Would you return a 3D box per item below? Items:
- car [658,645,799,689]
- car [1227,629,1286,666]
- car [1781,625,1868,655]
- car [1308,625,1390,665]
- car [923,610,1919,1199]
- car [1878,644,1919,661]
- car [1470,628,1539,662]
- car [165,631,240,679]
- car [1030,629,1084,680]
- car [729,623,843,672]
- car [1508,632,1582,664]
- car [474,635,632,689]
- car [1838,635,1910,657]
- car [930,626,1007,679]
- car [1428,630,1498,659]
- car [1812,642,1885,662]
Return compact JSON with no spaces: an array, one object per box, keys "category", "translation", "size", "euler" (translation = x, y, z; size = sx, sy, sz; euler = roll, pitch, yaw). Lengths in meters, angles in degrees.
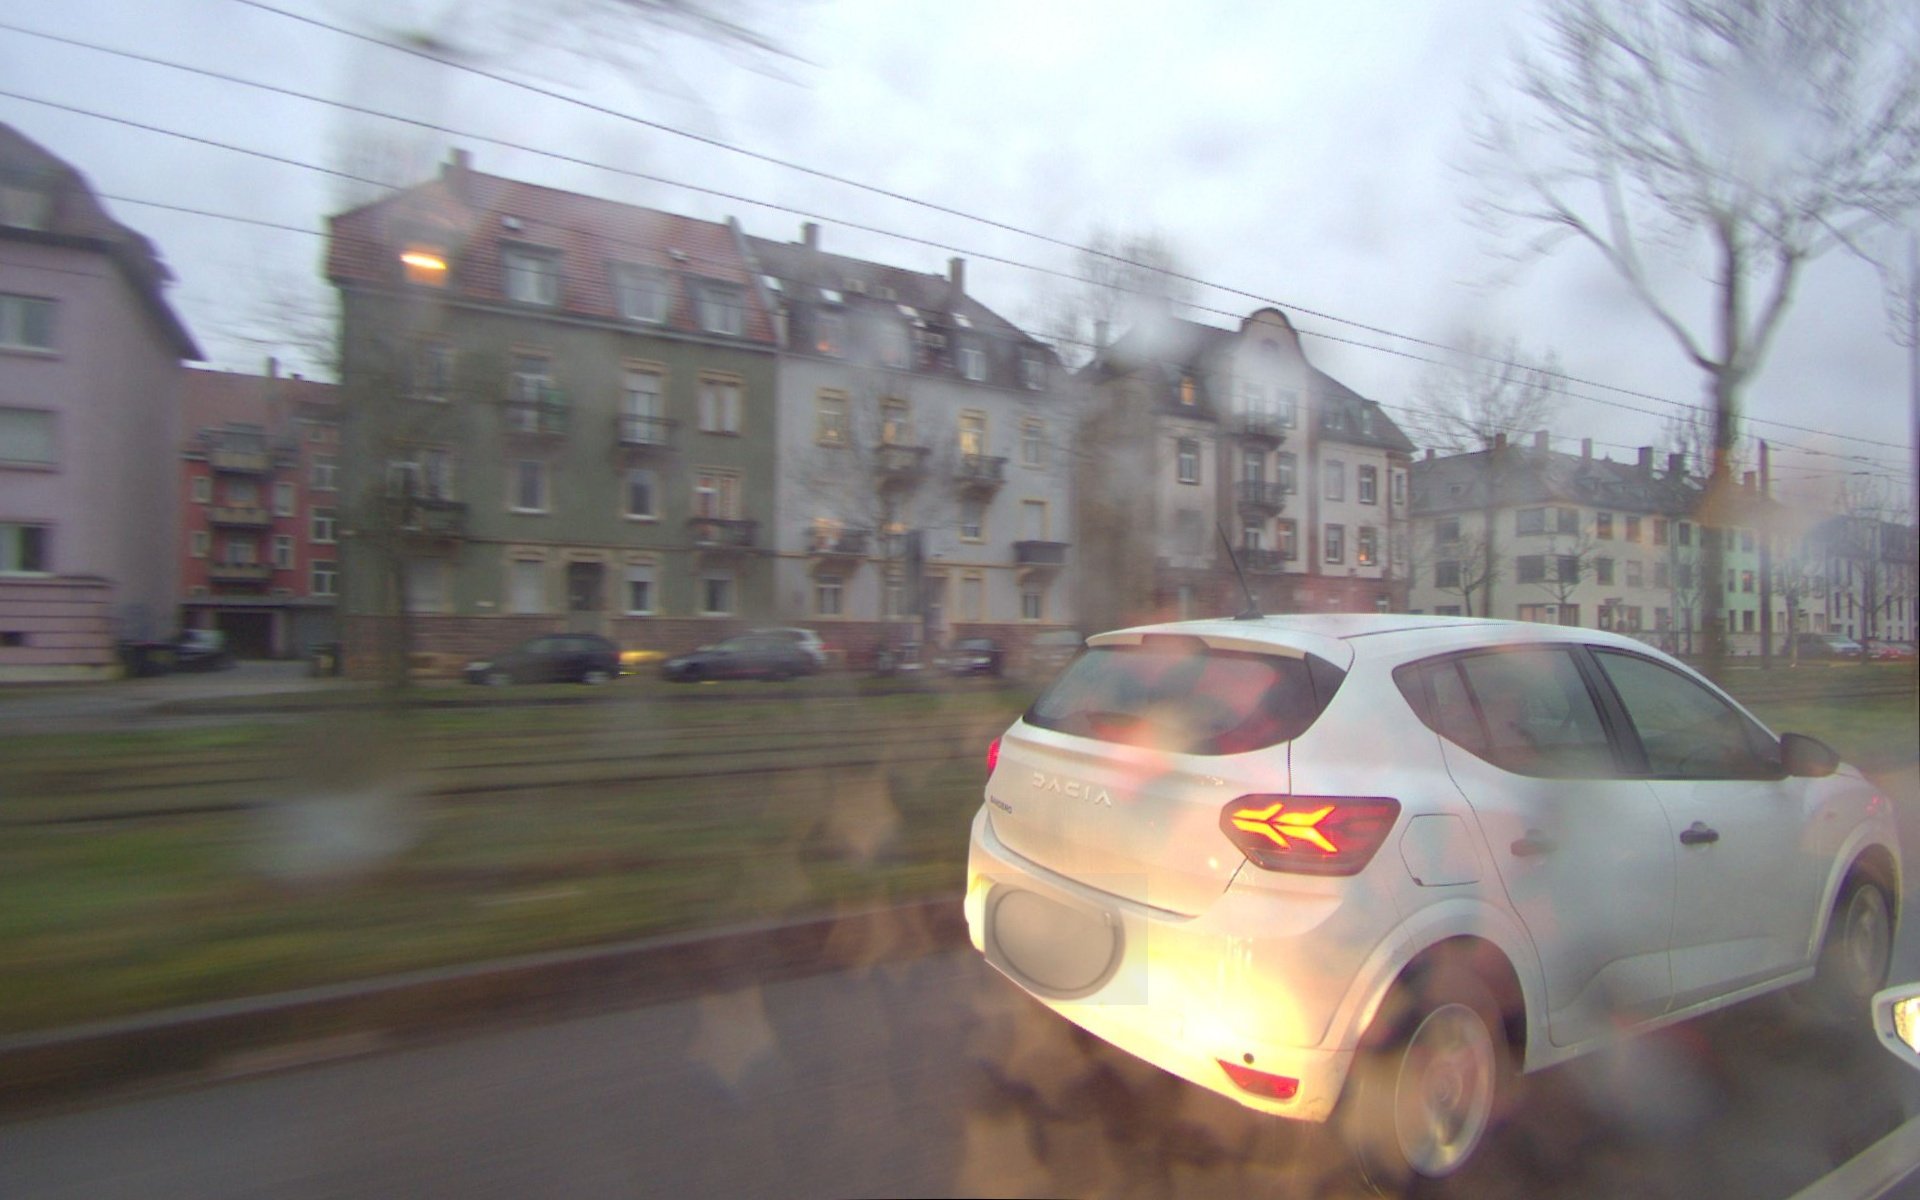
[{"category":"car","translation":[-6.775,1.935,29.598],"size":[3.860,1.184,1.222],"euler":[2,-1,-34]},{"category":"car","translation":[11.593,1.814,39.538],"size":[1.796,1.274,4.269],"euler":[1,-1,11]},{"category":"car","translation":[55.572,2.529,64.712],"size":[1.796,1.746,4.661],"euler":[1,0,4]},{"category":"car","translation":[15.931,1.834,41.319],"size":[1.842,1.437,3.361],"euler":[3,-1,-4]},{"category":"car","translation":[1.999,0.831,3.820],"size":[3.954,1.494,1.680],"euler":[2,-1,-31]},{"category":"car","translation":[66.322,3.680,70.600],"size":[1.408,1.062,2.393],"euler":[0,0,3]},{"category":"car","translation":[25.265,2.071,46.731],"size":[1.321,1.247,4.046],"euler":[3,1,6]},{"category":"car","translation":[-27.132,1.934,36.054],"size":[1.591,1.564,3.340],"euler":[1,-1,-28]},{"category":"car","translation":[3.280,1.767,33.629],"size":[1.660,1.451,4.667],"euler":[1,-1,6]},{"category":"car","translation":[-5.938,1.599,34.313],"size":[3.497,1.572,1.672],"euler":[2,-1,-30]},{"category":"car","translation":[28.199,2.282,48.540],"size":[1.677,1.176,4.107],"euler":[3,1,9]},{"category":"car","translation":[-11.099,1.672,27.448],"size":[3.861,1.357,1.459],"euler":[2,-1,-28]},{"category":"car","translation":[61.285,3.067,67.404],"size":[1.653,1.326,3.582],"euler":[1,0,3]},{"category":"car","translation":[0.342,1.631,32.154],"size":[1.783,1.467,3.954],"euler":[1,0,10]},{"category":"car","translation":[22.196,1.956,44.447],"size":[1.759,1.003,2.920],"euler":[3,1,5]},{"category":"car","translation":[58.550,3.405,66.273],"size":[1.702,1.156,3.573],"euler":[1,0,3]}]
